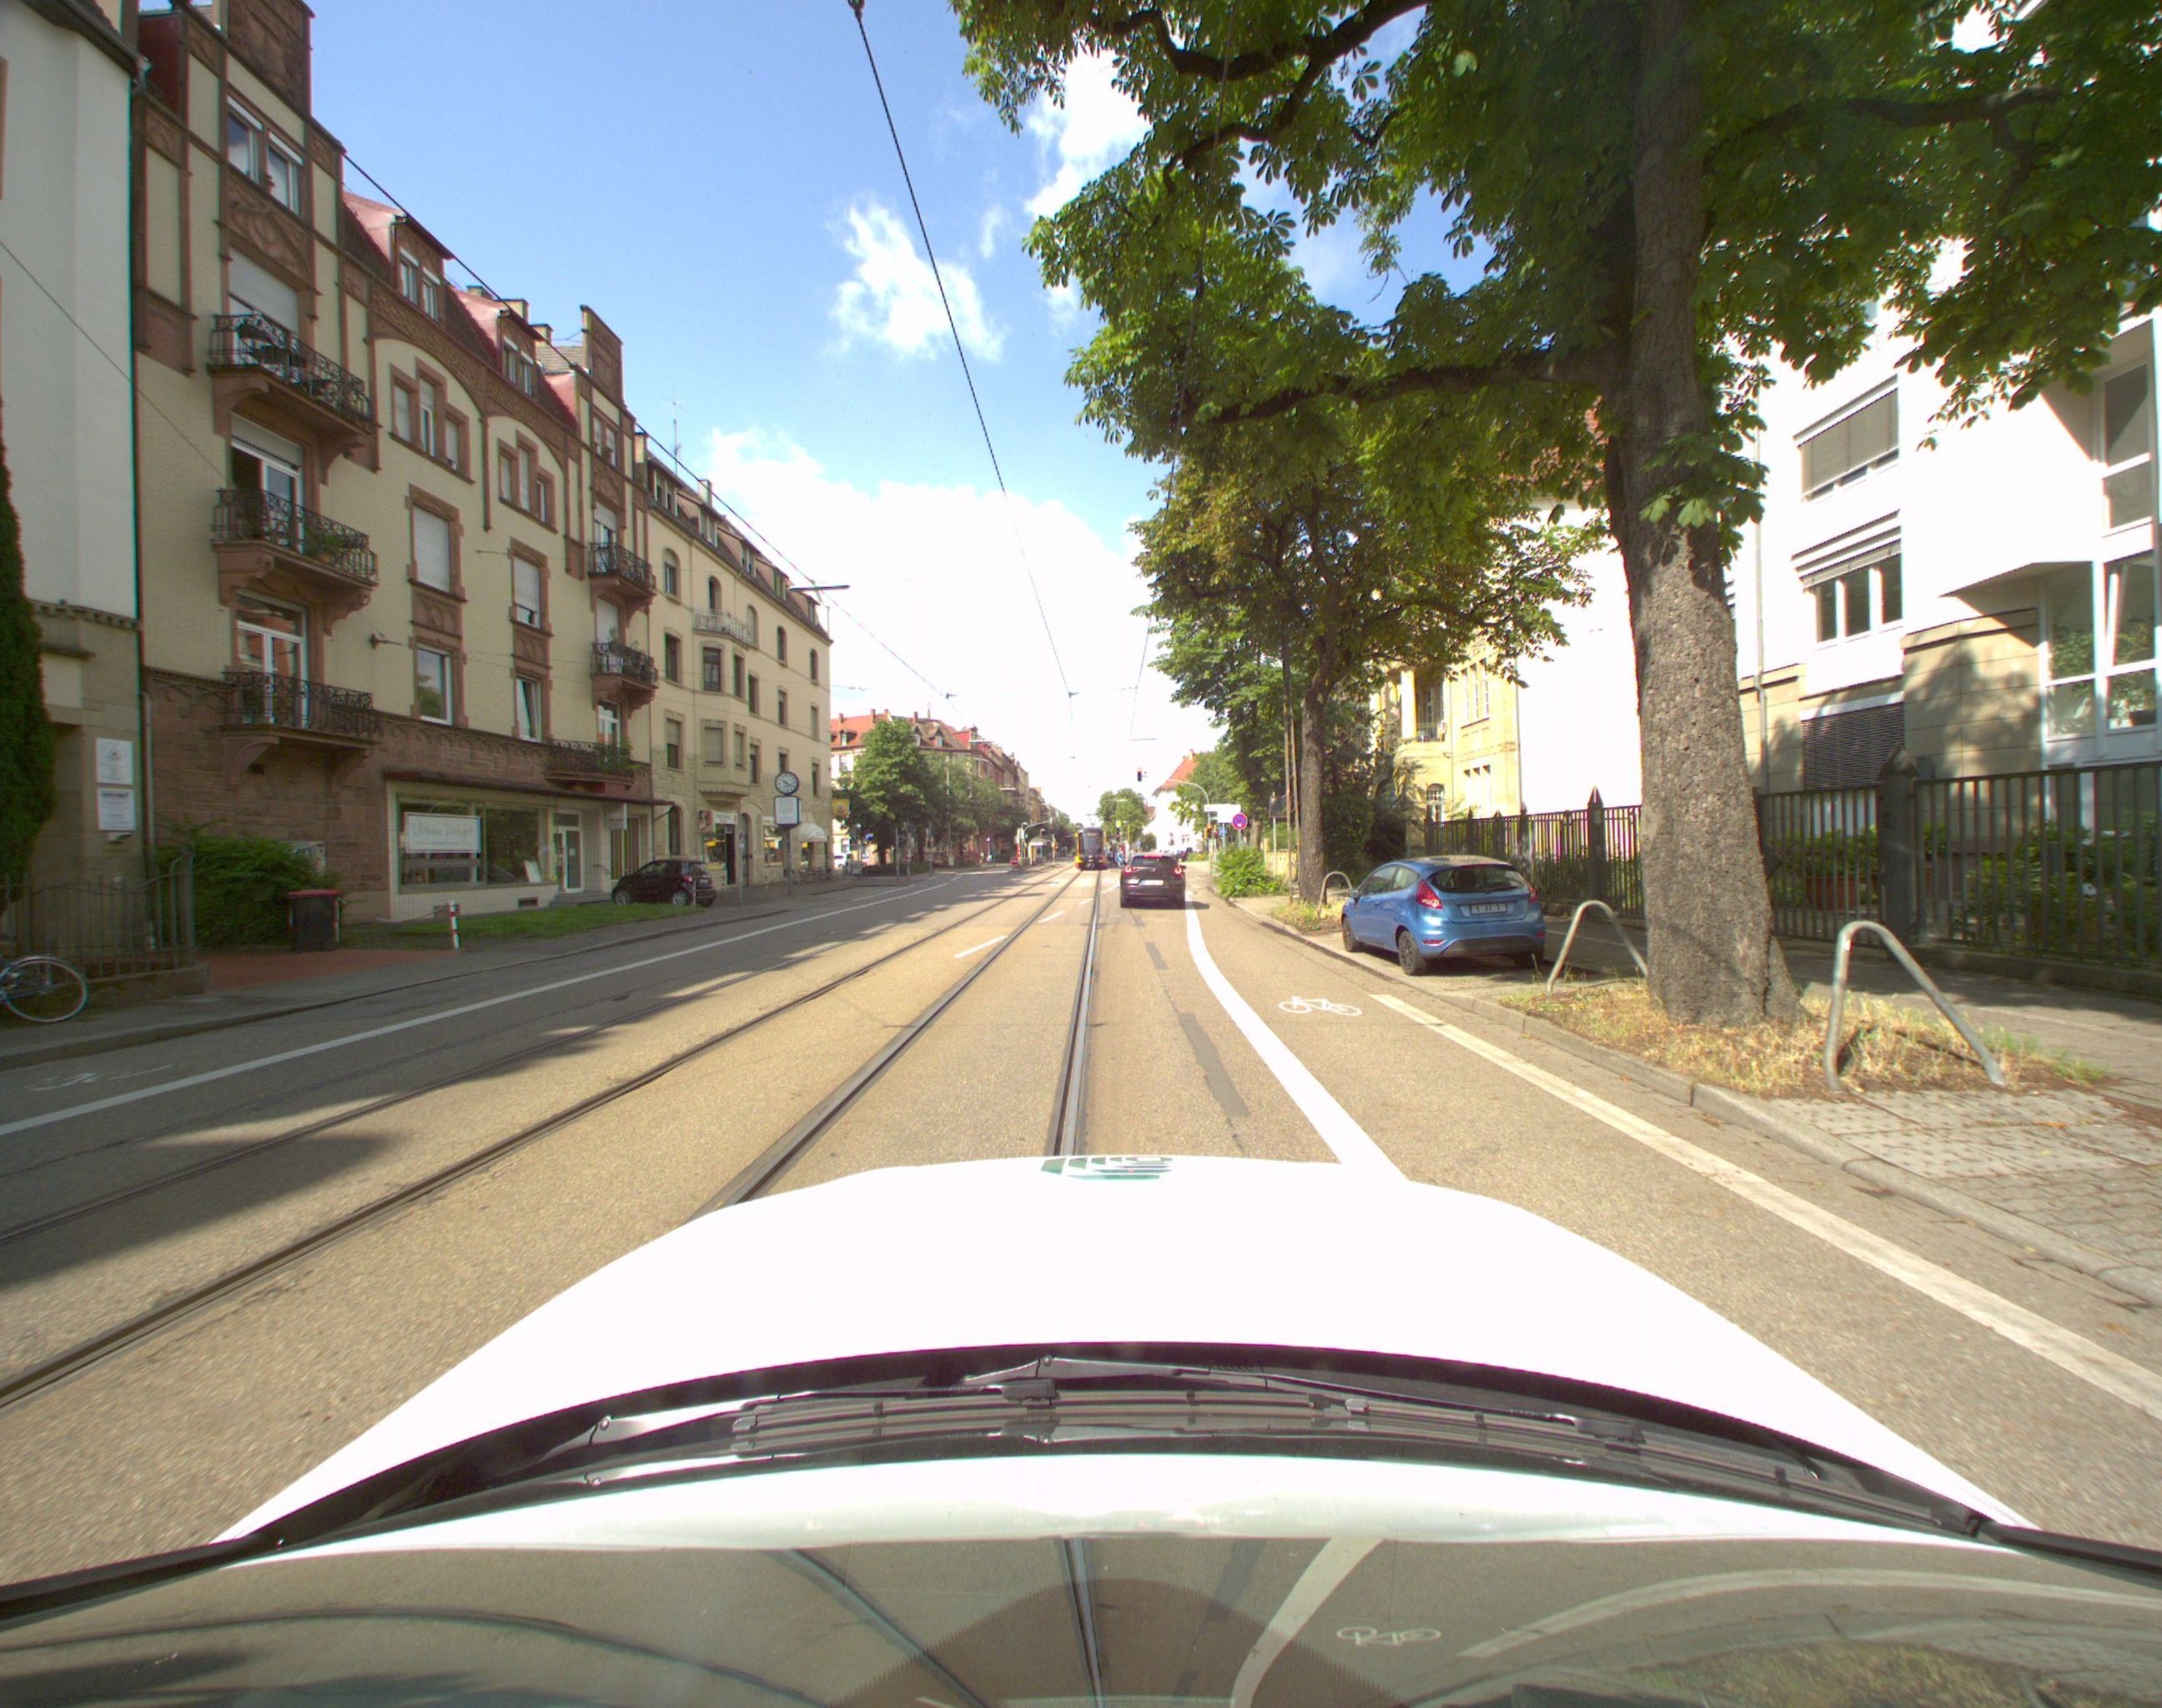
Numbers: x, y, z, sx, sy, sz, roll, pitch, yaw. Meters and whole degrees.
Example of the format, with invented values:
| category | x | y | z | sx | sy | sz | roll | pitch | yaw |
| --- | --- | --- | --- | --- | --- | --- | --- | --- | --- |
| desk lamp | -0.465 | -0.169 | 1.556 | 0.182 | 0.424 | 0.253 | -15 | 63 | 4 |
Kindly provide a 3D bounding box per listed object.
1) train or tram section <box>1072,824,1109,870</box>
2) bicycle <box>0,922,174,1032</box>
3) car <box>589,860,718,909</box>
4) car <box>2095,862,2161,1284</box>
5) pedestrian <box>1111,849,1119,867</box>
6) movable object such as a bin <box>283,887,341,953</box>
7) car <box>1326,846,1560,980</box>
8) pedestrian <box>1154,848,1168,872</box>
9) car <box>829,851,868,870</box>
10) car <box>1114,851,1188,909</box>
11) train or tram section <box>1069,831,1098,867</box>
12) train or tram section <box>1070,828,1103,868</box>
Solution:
| category | x | y | z | sx | sy | sz | roll | pitch | yaw |
| --- | --- | --- | --- | --- | --- | --- | --- | --- | --- |
| train or tram section | 0.691 | -0.564 | 68.626 | 2.645 | 3.527 | 8.490 | -2 | 0 | -2 |
| bicycle | -10.576 | 1.232 | 8.257 | 0.508 | 0.959 | 1.819 | 1 | -1 | 8 |
| car | -13.632 | 0.946 | 26.096 | 3.221 | 1.513 | 1.681 | 0 | 0 | 4 |
| car | 4.663 | 0.755 | 1.190 | 1.635 | 1.496 | 3.756 | -3 | 0 | -1 |
| pedestrian | 2.984 | 0.364 | 71.153 | 0.665 | 1.605 | 0.699 | -1 | 0 | -1 |
| movable object such as a bin | -13.468 | 1.139 | 14.268 | 0.589 | 1.069 | 0.611 | 1 | 0 | 35 |
| car | 4.860 | 0.691 | 11.560 | 1.618 | 1.496 | 3.849 | -3 | 0 | 1 |
| pedestrian | 5.277 | 0.403 | 53.868 | 0.871 | 1.605 | 0.632 | -1 | 0 | 2 |
| car | -29.349 | 0.800 | 102.860 | 4.093 | 2.013 | 2.006 | -5 | 0 | 11 |
| car | 1.930 | 0.672 | 23.662 | 1.783 | 1.512 | 4.350 | 0 | 0 | 0 |
| train or tram section | 0.223 | -0.475 | 85.630 | 2.645 | 3.527 | 8.490 | -2 | 0 | -2 |
| train or tram section | 0.453 | -0.511 | 77.139 | 2.645 | 3.527 | 8.490 | -2 | 0 | -2 |
